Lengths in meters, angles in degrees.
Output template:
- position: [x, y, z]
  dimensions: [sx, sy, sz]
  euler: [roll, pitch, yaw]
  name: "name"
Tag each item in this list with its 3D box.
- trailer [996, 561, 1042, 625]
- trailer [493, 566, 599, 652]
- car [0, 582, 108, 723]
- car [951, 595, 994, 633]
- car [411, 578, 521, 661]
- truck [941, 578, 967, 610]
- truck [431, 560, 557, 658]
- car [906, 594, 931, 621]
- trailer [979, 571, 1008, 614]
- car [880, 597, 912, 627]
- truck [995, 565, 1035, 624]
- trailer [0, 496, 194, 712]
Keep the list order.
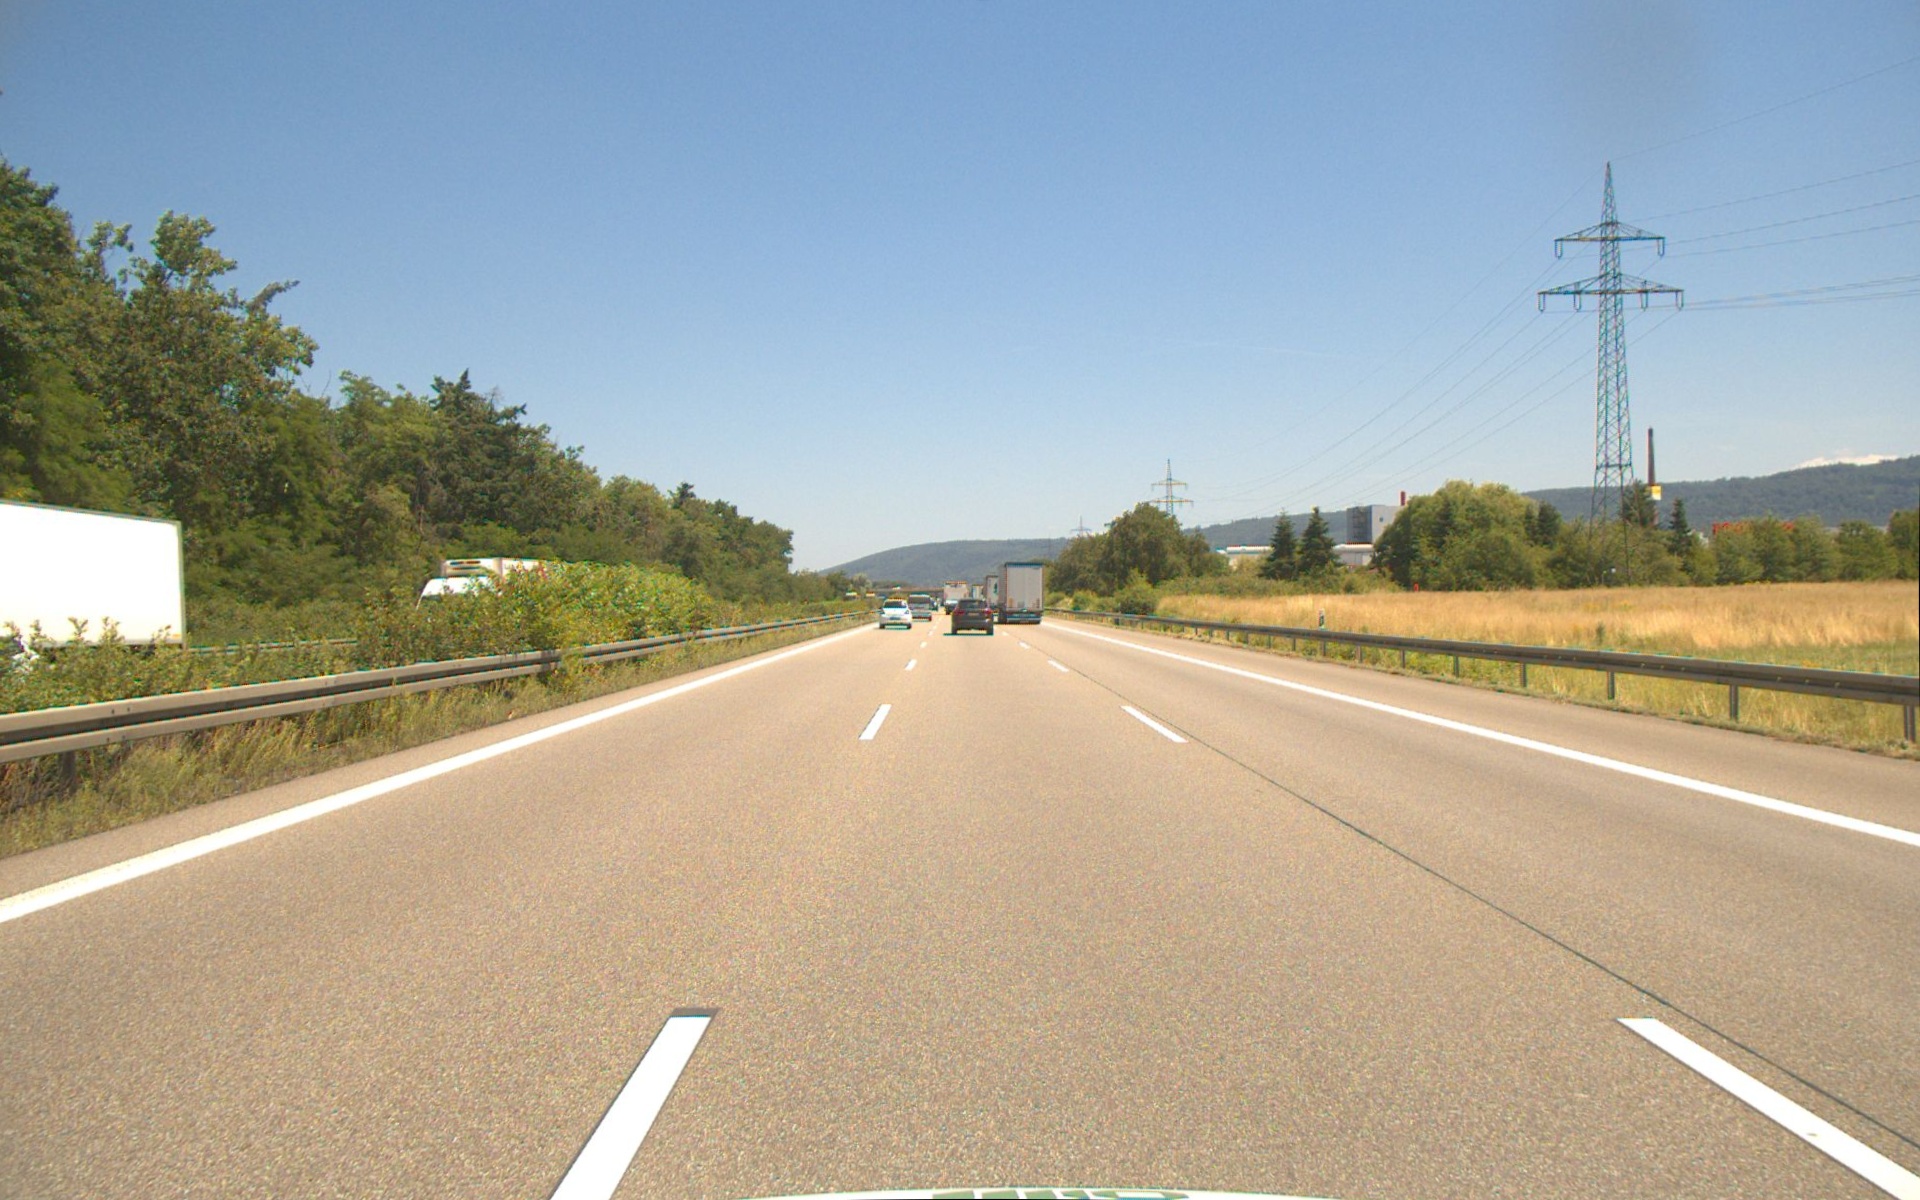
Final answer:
- position: [3.997, -0.427, 114.099]
  dimensions: [2.680, 4.178, 13.120]
  euler: [0, 0, 0]
  name: "trailer"
- position: [-20.036, 0.413, 80.653]
  dimensions: [2.866, 3.895, 9.273]
  euler: [-1, 0, -1]
  name: "trailer"
- position: [-15.228, 0.799, 25.034]
  dimensions: [2.081, 2.091, 5.084]
  euler: [-1, 0, -1]
  name: "car"
- position: [0.537, 0.623, 74.287]
  dimensions: [1.835, 1.652, 4.003]
  euler: [0, 0, -1]
  name: "car"
- position: [-15.784, 0.601, 53.110]
  dimensions: [2.081, 2.510, 5.084]
  euler: [-1, 0, -1]
  name: "car"
- position: [-0.676, -0.619, 181.477]
  dimensions: [2.725, 3.432, 8.126]
  euler: [0, 0, 0]
  name: "truck"
- position: [-19.939, 0.376, 71.414]
  dimensions: [2.866, 3.895, 9.273]
  euler: [-1, 0, -1]
  name: "truck"
- position: [-3.045, 0.525, 122.337]
  dimensions: [1.725, 1.883, 3.999]
  euler: [-2, 0, -1]
  name: "car"
- position: [3.501, -0.734, 175.745]
  dimensions: [2.732, 4.236, 13.573]
  euler: [-2, 0, 0]
  name: "trailer"
- position: [-3.391, 0.623, 88.403]
  dimensions: [1.575, 1.493, 3.999]
  euler: [-2, 0, -1]
  name: "car"
- position: [3.974, -0.405, 120.897]
  dimensions: [2.680, 4.192, 6.124]
  euler: [0, 0, 0]
  name: "truck"
- position: [-19.773, 0.129, 32.898]
  dimensions: [2.486, 4.162, 14.243]
  euler: [-2, 0, -1]
  name: "trailer"
